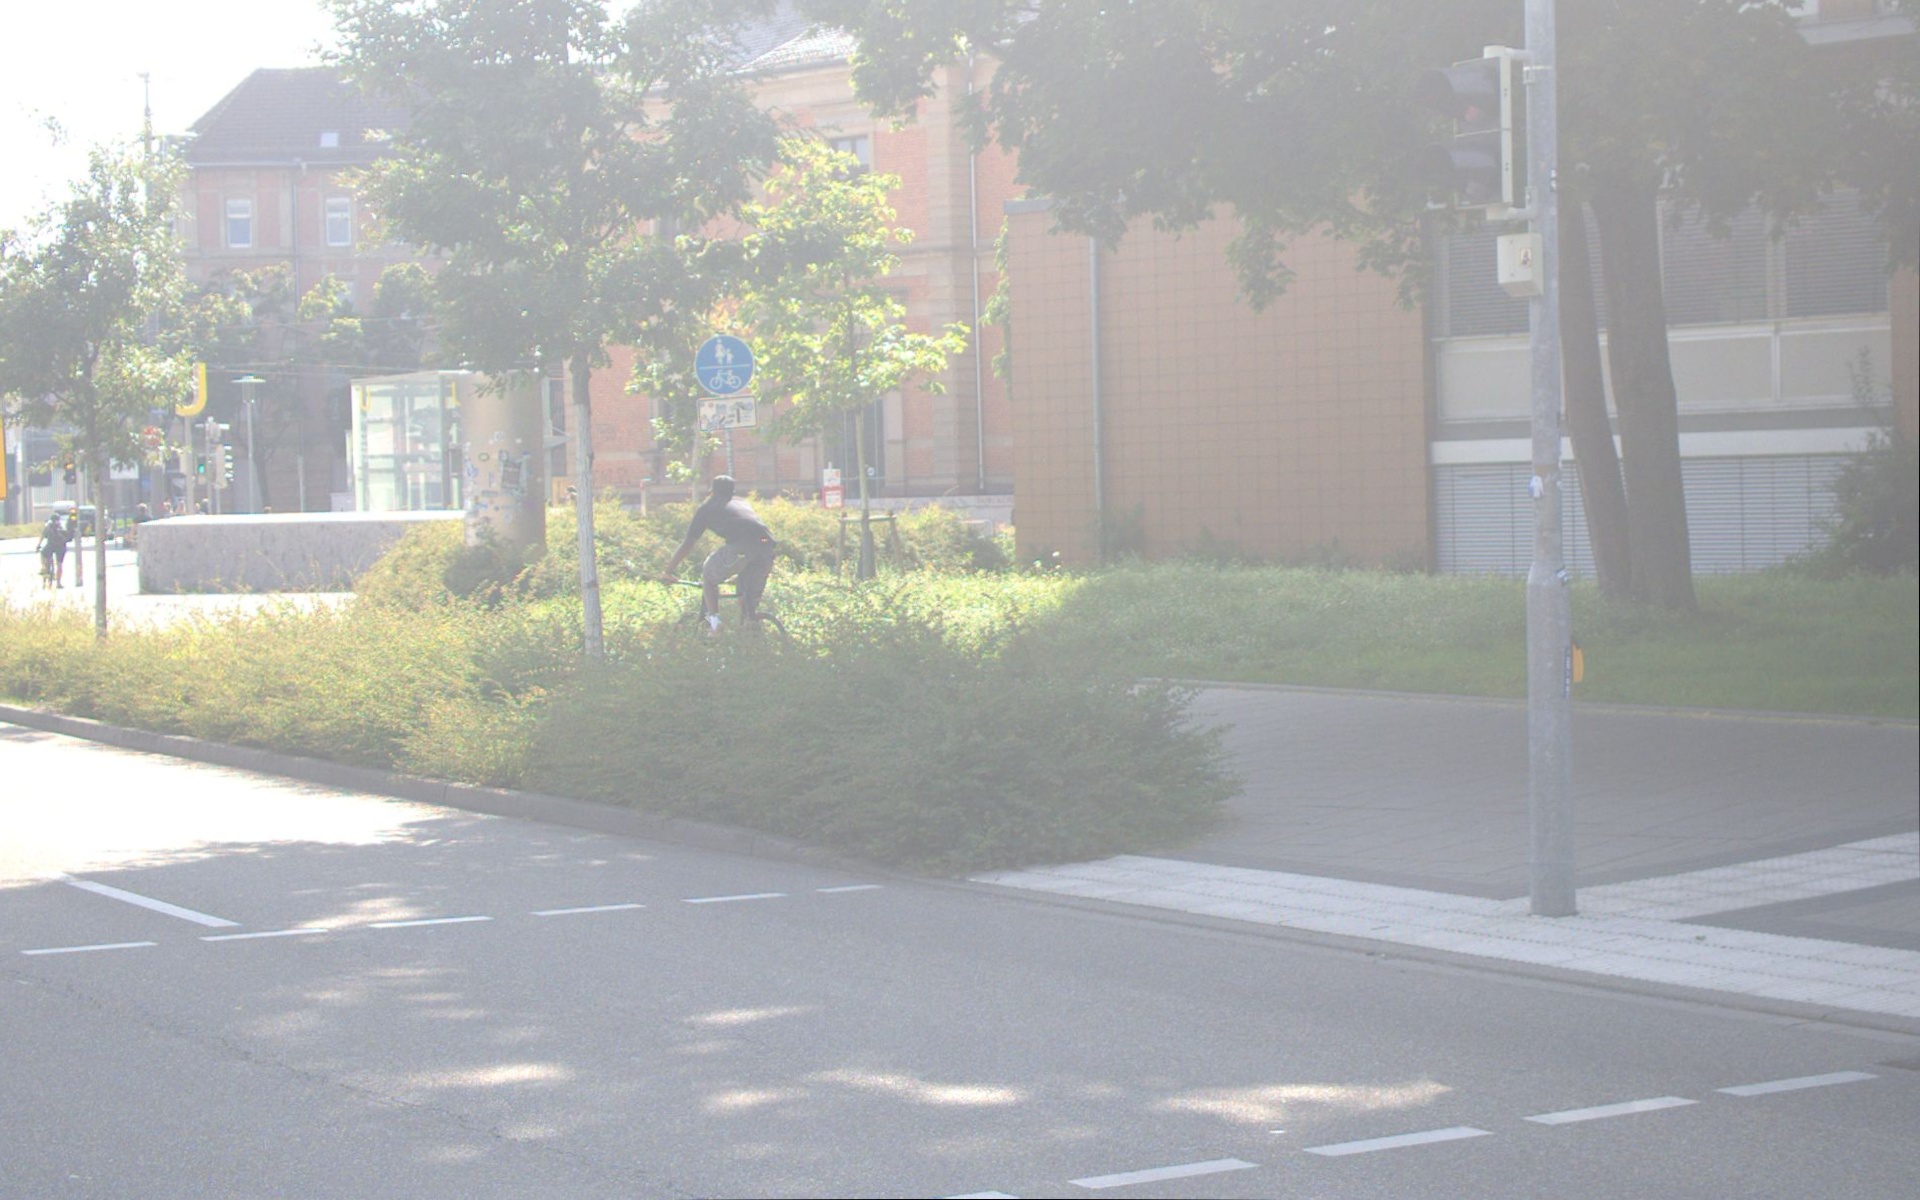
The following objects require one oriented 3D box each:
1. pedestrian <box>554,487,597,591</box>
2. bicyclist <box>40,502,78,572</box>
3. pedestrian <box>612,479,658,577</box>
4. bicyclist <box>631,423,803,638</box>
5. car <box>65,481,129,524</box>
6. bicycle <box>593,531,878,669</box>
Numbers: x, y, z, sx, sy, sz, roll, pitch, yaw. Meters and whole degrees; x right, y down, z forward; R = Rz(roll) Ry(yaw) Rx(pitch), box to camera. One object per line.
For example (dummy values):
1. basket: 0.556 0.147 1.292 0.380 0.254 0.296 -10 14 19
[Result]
1. pedestrian: -6.113 -0.969 54.639 0.614 1.633 0.534 -2 2 -4
2. bicyclist: -19.867 -1.398 75.830 0.712 1.524 0.807 -2 2 -11
3. pedestrian: -5.457 -1.214 57.759 0.614 1.623 0.534 -2 2 -21
4. bicyclist: -1.824 -0.526 25.830 0.989 1.573 0.773 0 2 38
5. car: -42.445 -4.815 169.205 2.412 2.006 4.780 -2 2 -7
6. bicycle: -1.698 -0.011 25.754 2.148 0.972 0.773 0 2 39
